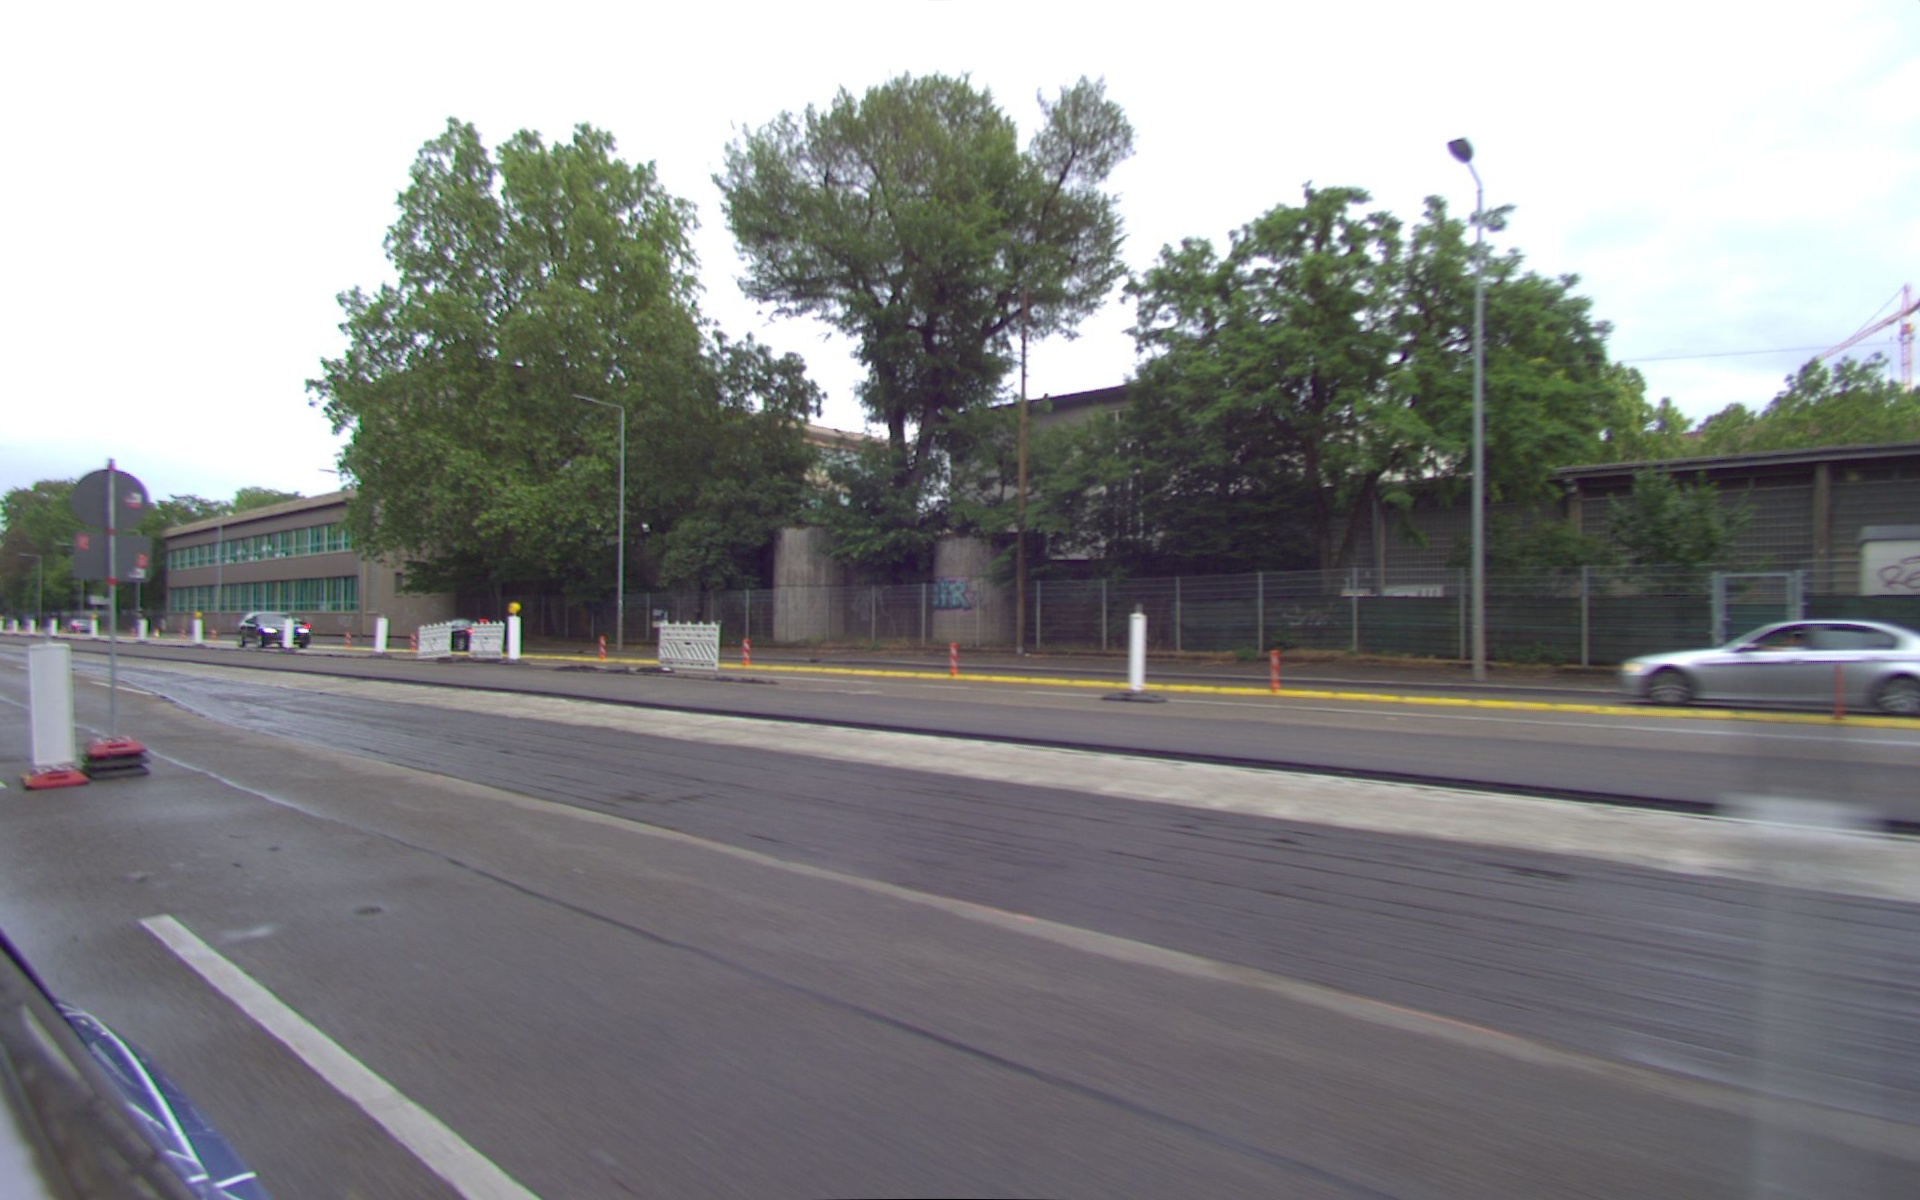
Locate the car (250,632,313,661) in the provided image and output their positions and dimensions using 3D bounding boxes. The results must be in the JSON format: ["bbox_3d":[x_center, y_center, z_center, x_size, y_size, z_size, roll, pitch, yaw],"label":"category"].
[{"bbox_3d":[-37.113,2.511,55.349,4.146,1.445,1.817,-1,-1,40],"label":"car"}]

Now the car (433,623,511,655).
[{"bbox_3d":[-22.217,1.745,46.002,4.167,1.393,1.688,-1,-3,41],"label":"car"}]

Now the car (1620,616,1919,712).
[{"bbox_3d":[12.803,0.950,15.385,4.452,1.325,1.649,-2,-4,41],"label":"car"}]

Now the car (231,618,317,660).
[{"bbox_3d":[-31.451,1.837,46.333,4.981,1.719,1.973,-3,-6,41],"label":"car"}]
